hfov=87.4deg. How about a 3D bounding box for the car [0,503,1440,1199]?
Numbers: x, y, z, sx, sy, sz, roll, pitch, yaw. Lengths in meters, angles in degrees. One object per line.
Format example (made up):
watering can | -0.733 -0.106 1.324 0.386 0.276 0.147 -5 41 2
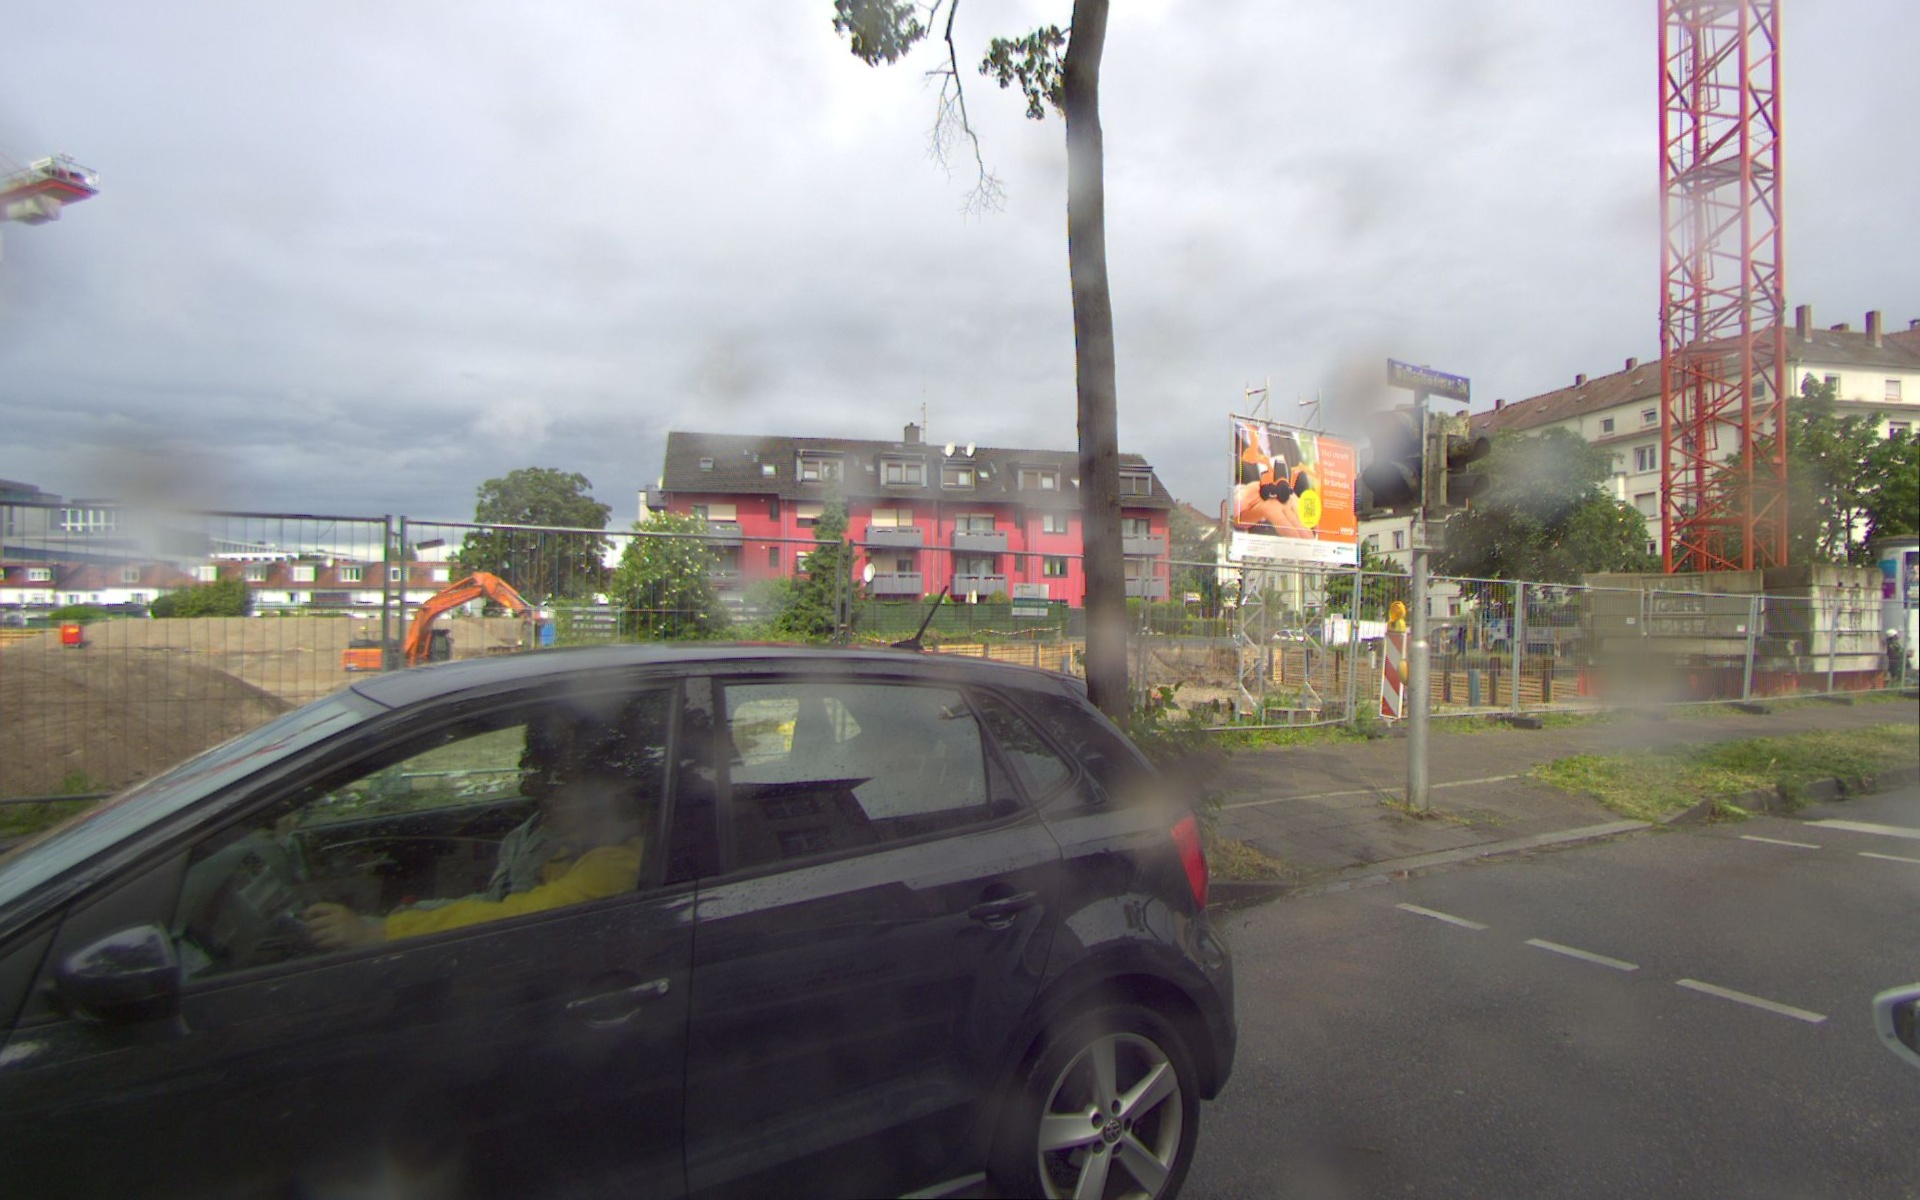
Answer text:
car | -0.779 0.725 2.670 3.935 1.560 1.805 2 -4 -30

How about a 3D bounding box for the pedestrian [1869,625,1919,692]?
pedestrian | 23.660 1.468 25.449 0.710 1.651 0.684 2 0 23

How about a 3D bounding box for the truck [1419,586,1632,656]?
truck | 28.685 1.164 51.748 3.729 3.226 9.816 0 -2 -15
